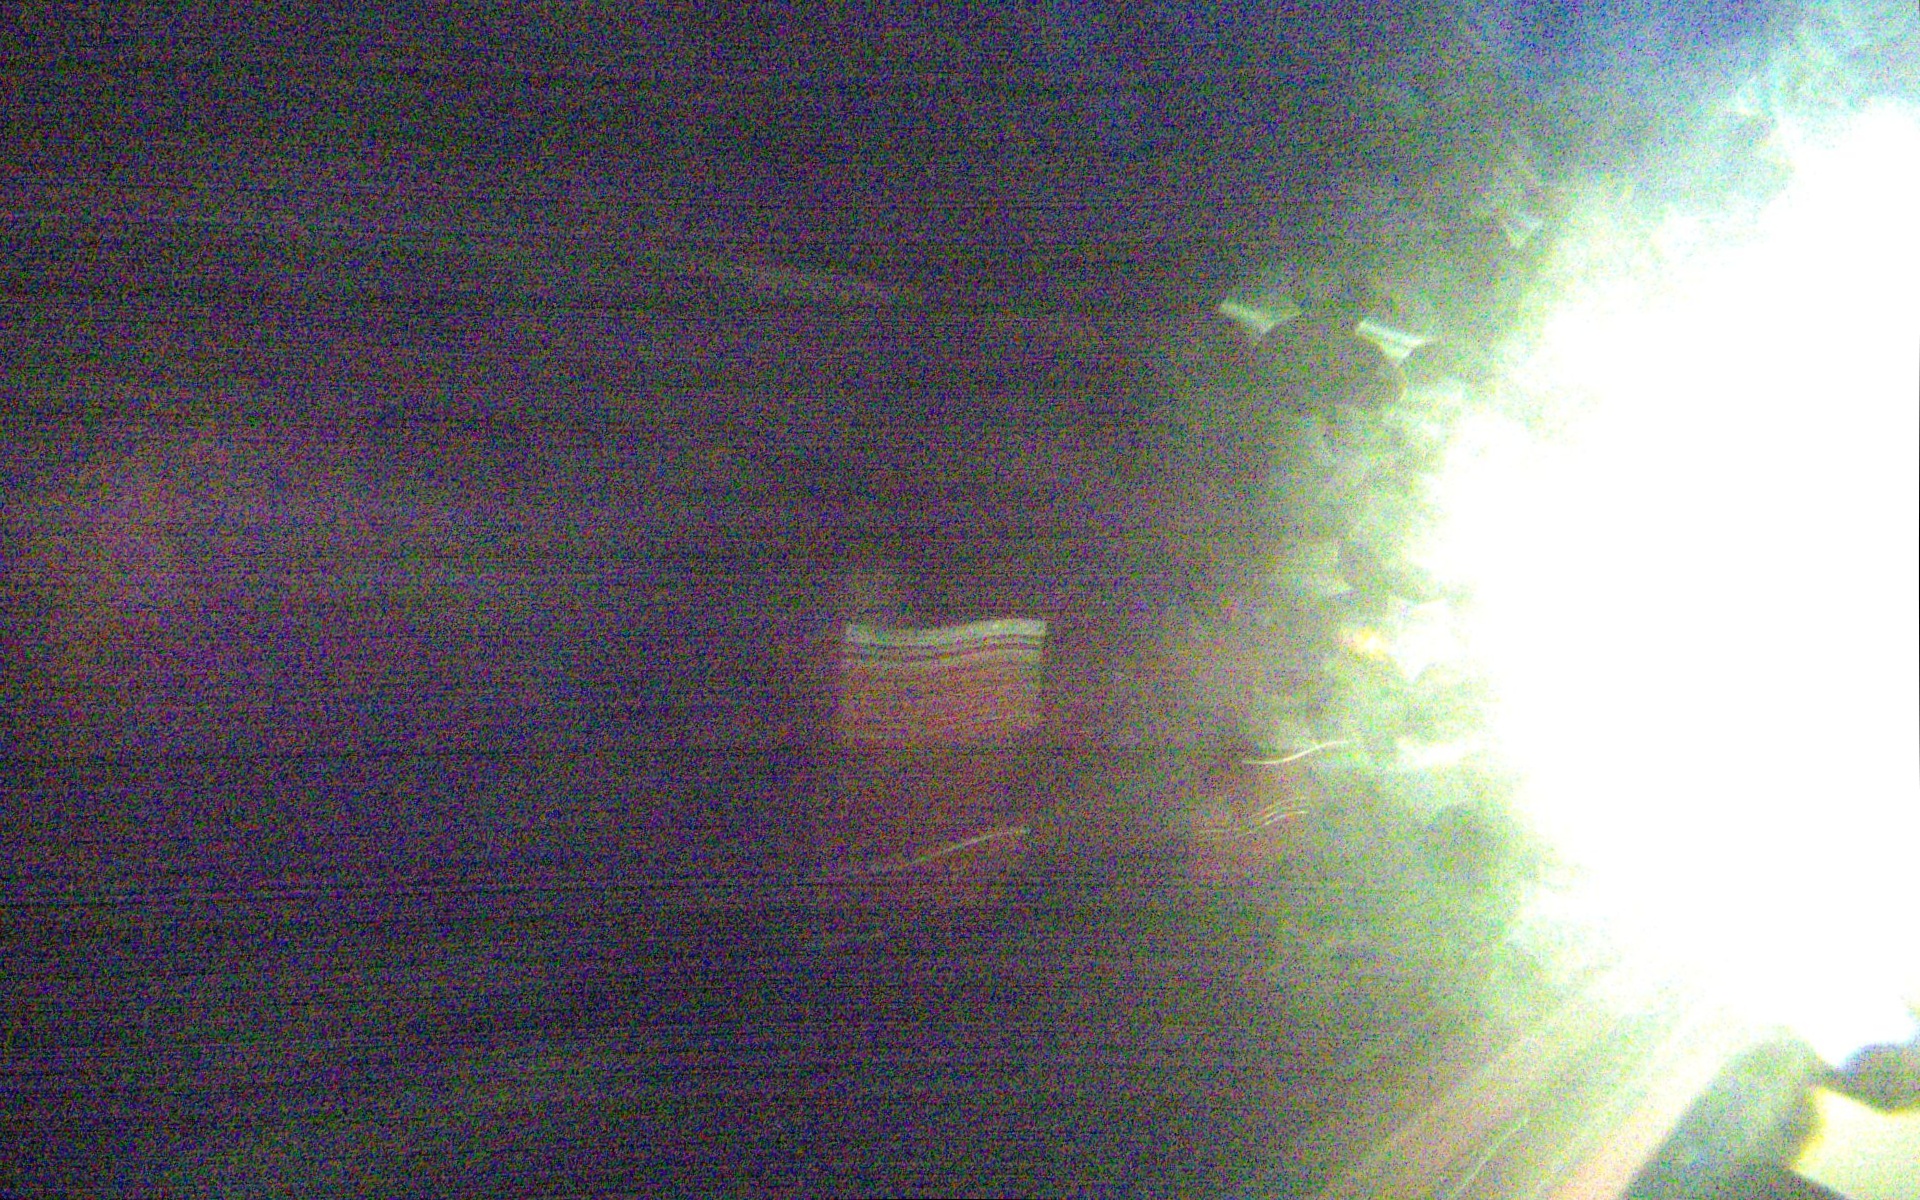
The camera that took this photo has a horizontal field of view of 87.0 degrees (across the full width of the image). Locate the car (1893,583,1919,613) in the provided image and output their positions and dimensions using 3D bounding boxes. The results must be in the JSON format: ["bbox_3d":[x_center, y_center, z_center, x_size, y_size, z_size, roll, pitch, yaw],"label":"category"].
[{"bbox_3d":[57.676,-0.147,60.877,1.698,1.794,3.952,0,1,34],"label":"car"}]
